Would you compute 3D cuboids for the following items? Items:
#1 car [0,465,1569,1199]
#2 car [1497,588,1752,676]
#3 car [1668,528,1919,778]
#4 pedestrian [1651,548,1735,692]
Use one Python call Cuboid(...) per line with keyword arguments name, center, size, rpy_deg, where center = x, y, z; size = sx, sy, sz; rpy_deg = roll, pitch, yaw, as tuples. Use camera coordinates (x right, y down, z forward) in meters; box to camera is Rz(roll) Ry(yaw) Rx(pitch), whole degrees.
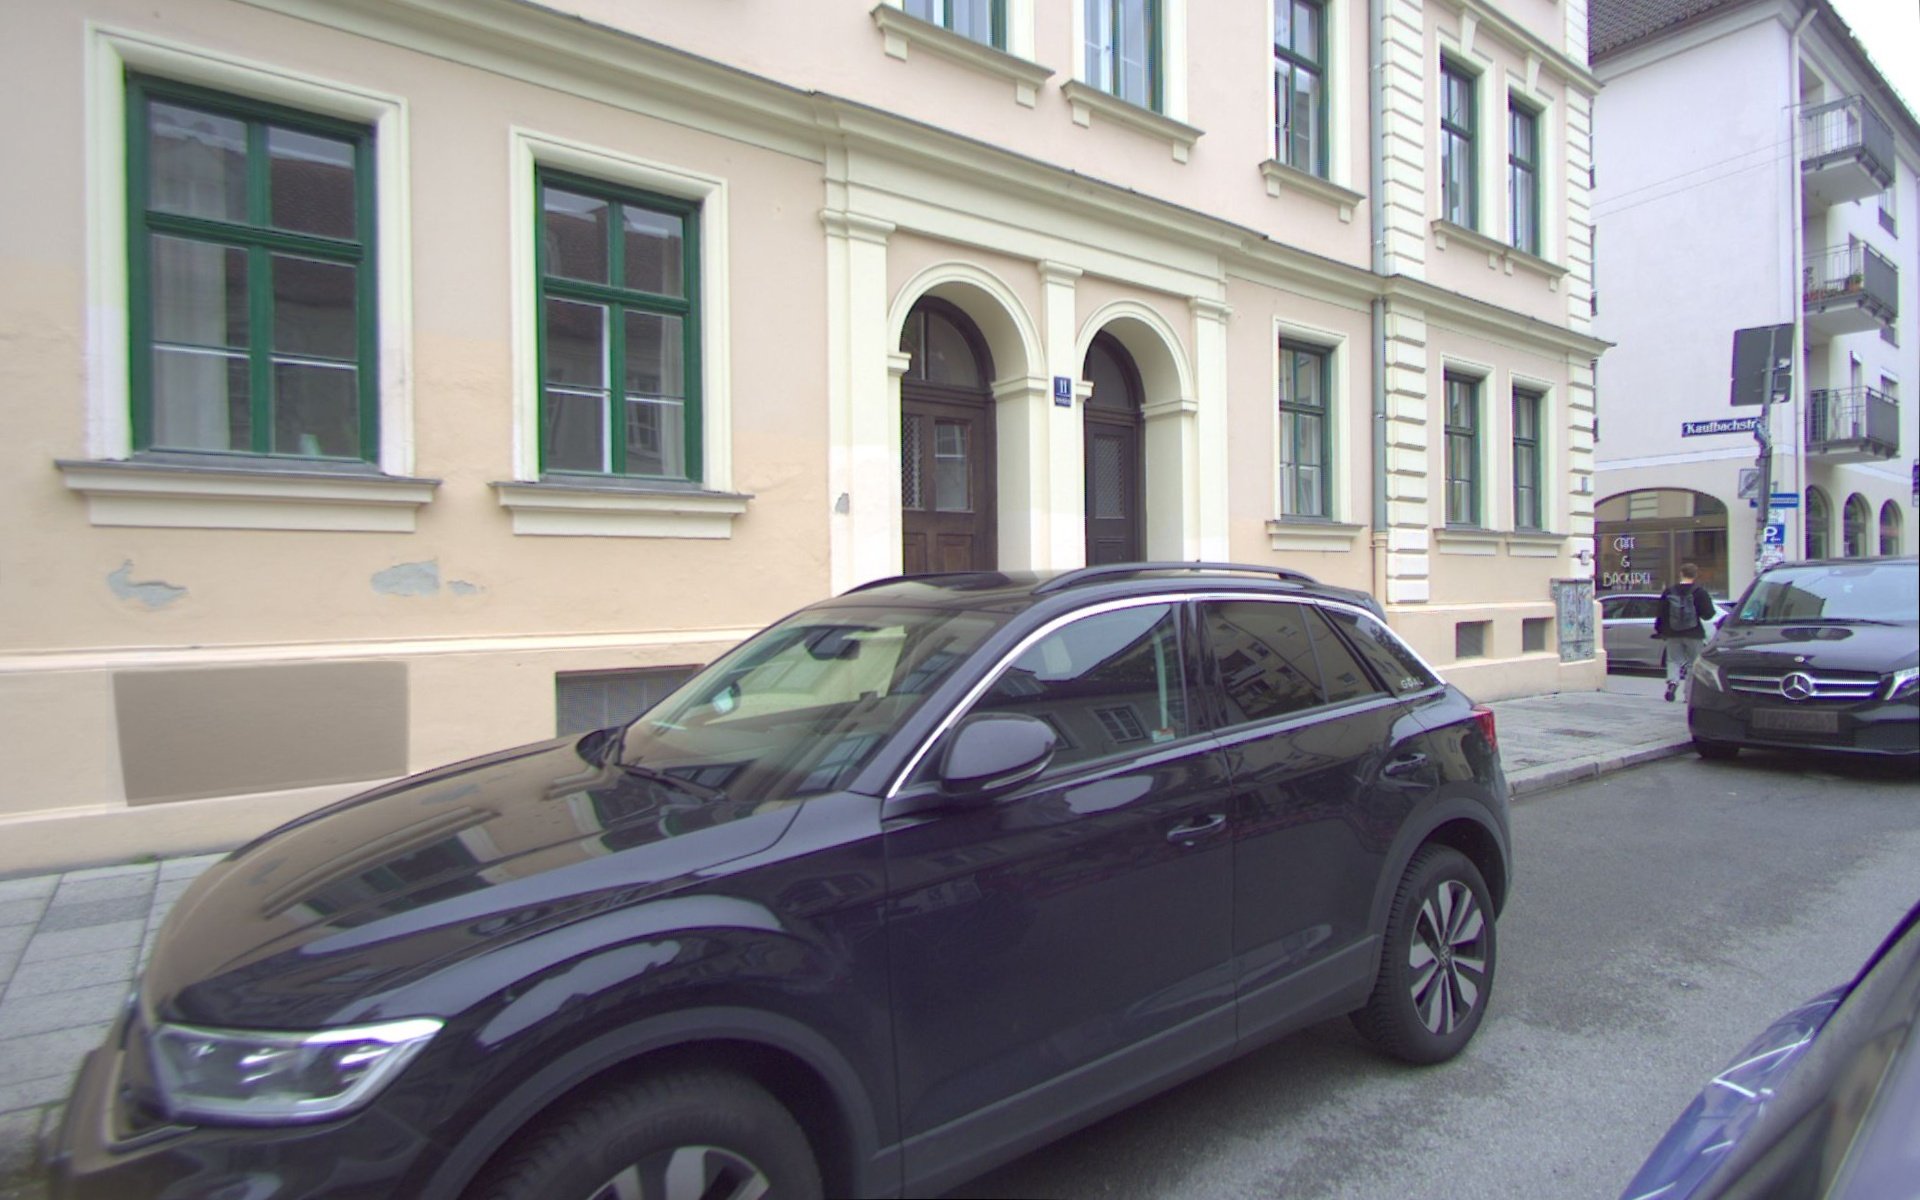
Cuboid(name="car", center=(-0.021, 0.614, 3.041), size=(4.065, 1.586, 1.722), rpy_deg=(-1, 0, -36))
Cuboid(name="car", center=(13.326, 0.576, 20.496), size=(1.681, 1.585, 3.996), rpy_deg=(0, 0, -39))
Cuboid(name="car", center=(8.920, 0.371, 9.614), size=(5.016, 1.884, 2.000), rpy_deg=(-1, 0, -35))
Cuboid(name="pedestrian", center=(9.636, 0.249, 13.304), size=(0.716, 1.825, 0.698), rpy_deg=(0, 0, -37))
